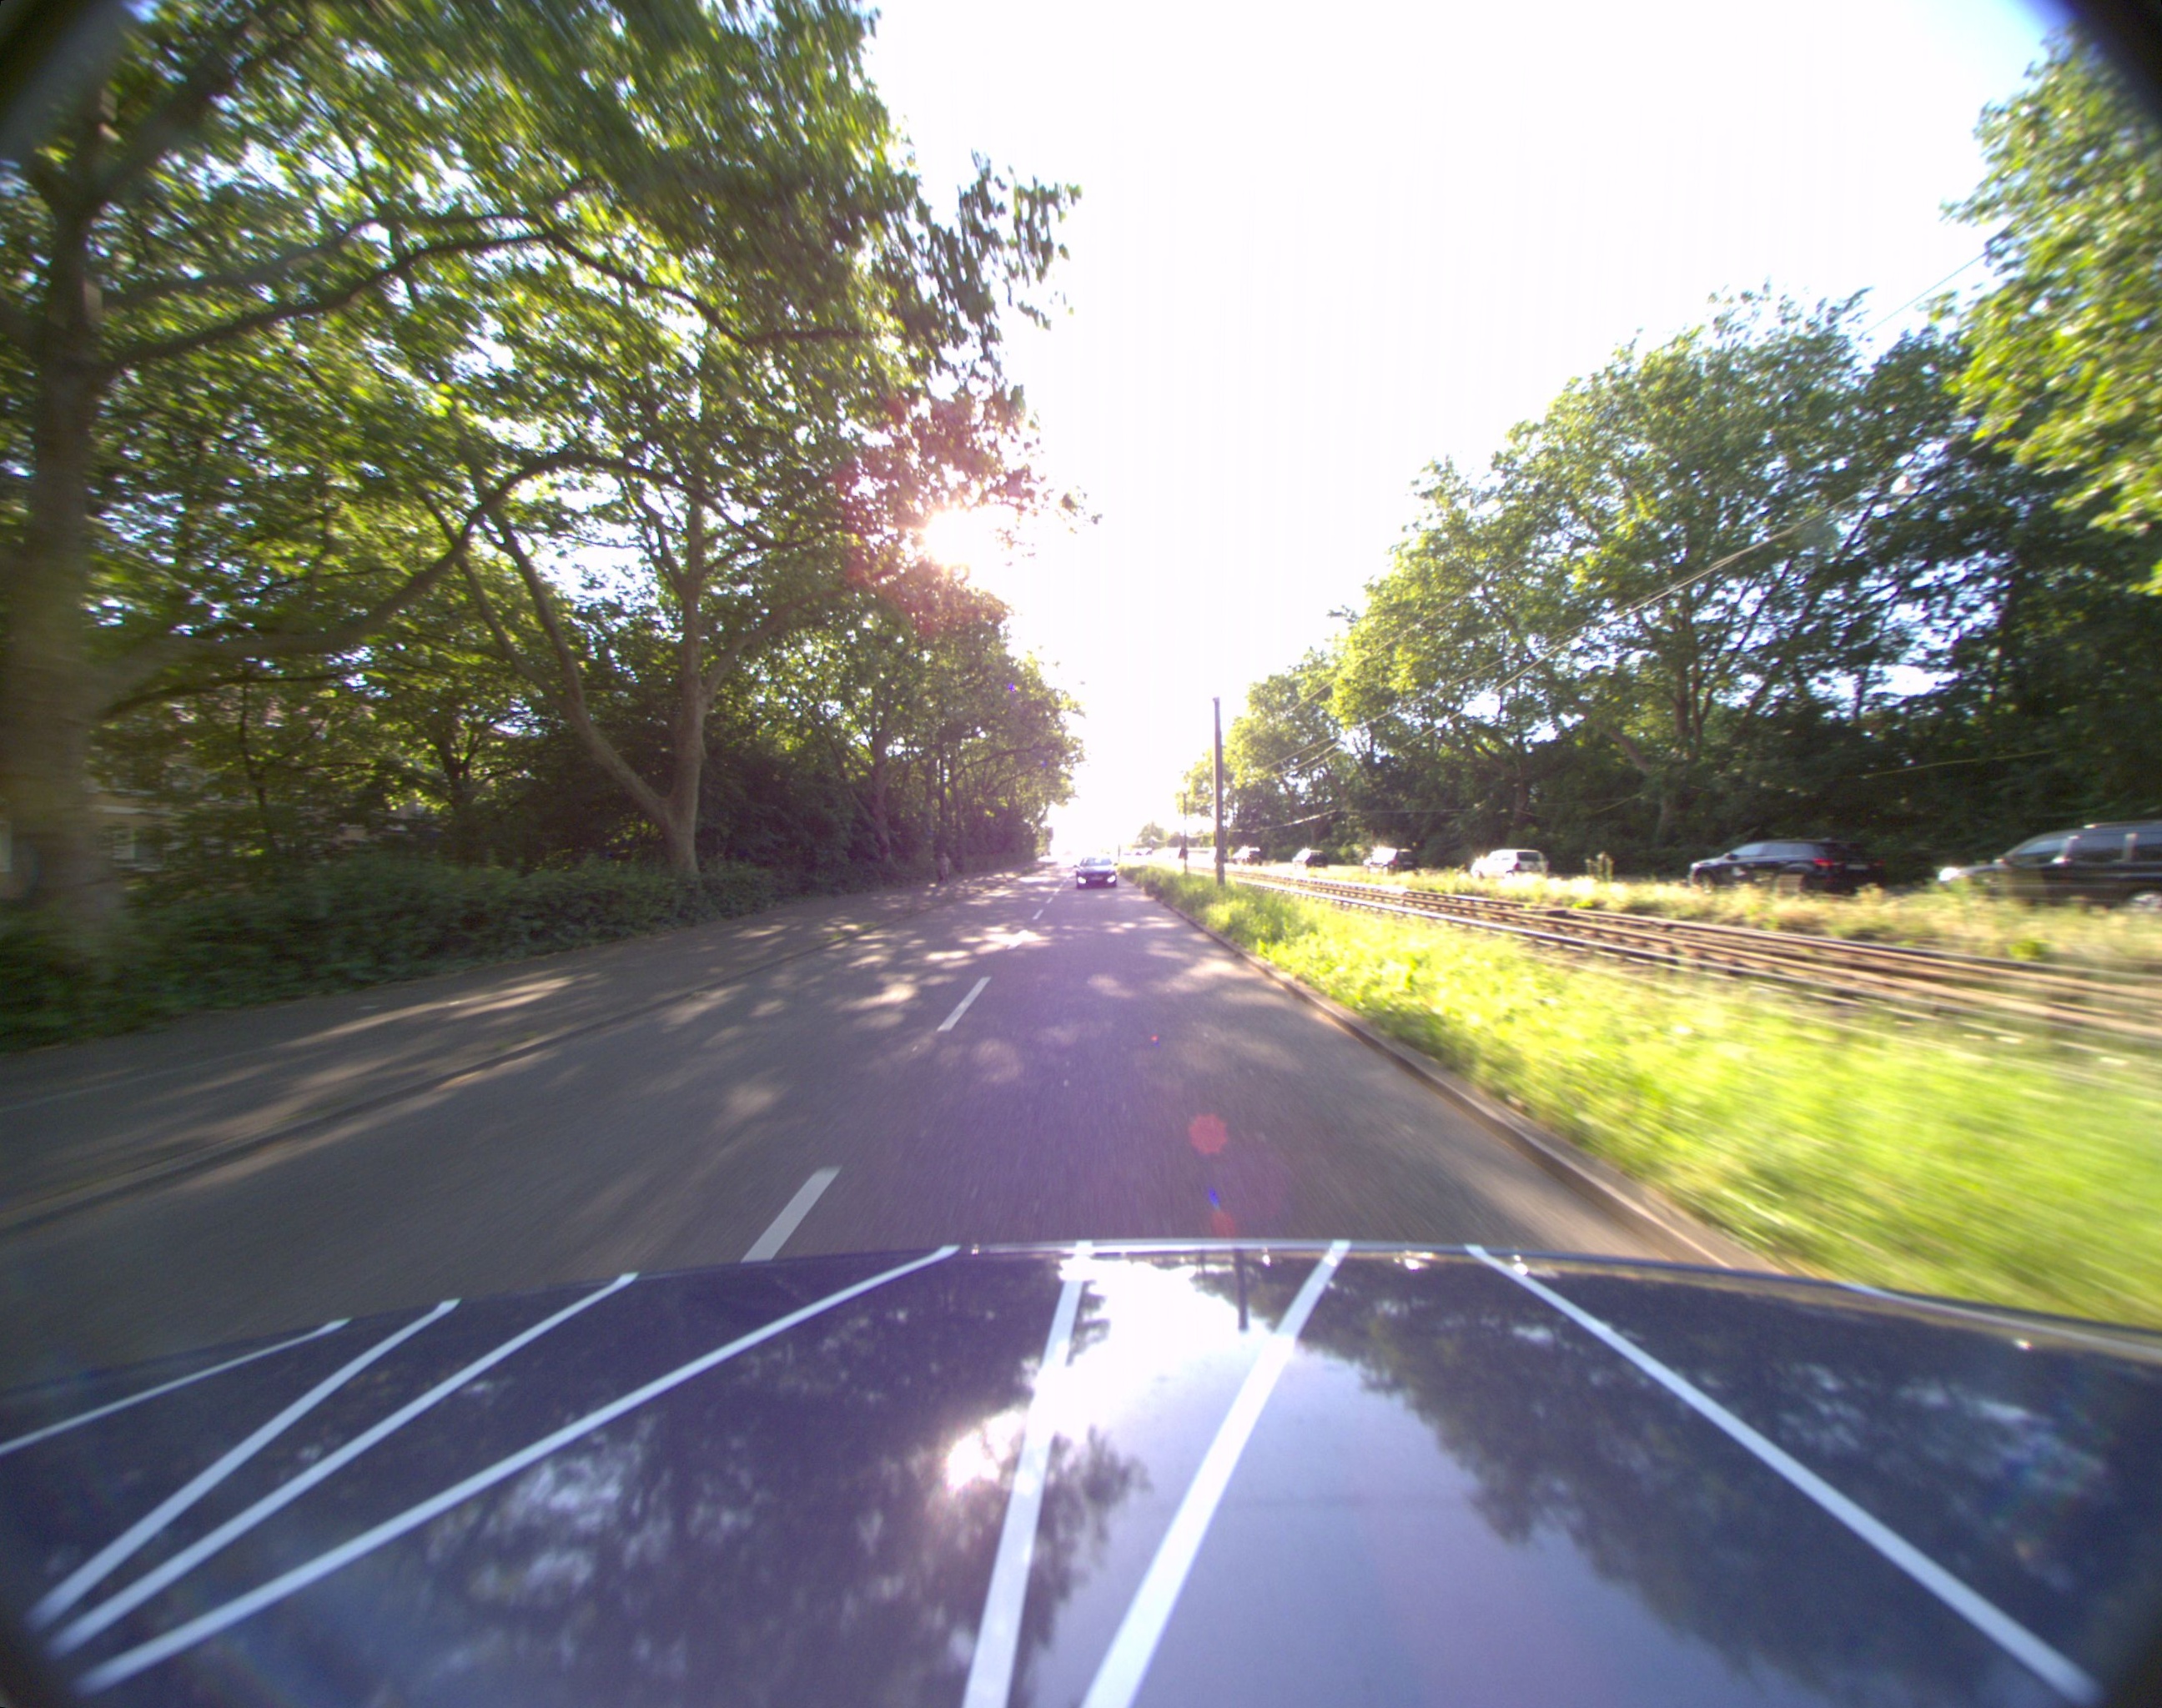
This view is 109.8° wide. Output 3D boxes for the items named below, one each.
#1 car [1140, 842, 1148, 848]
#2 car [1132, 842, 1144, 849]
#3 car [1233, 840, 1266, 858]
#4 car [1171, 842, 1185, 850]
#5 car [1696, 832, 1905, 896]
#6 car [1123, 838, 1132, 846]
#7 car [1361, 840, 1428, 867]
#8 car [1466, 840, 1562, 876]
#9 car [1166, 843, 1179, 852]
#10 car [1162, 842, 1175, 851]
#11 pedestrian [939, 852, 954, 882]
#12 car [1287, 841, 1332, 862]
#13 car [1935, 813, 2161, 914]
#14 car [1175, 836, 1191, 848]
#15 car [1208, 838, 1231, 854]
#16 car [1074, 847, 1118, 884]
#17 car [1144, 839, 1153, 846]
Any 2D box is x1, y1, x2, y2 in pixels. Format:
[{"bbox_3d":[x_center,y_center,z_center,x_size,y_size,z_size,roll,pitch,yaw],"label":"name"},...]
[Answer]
[{"bbox_3d":[15.235,-2.164,183.604,1.658,1.491,3.924,0,1,0],"label":"car"},{"bbox_3d":[12.127,-1.815,161.258,1.925,1.407,4.748,0,1,-2],"label":"car"},{"bbox_3d":[16.650,-0.492,75.387,1.832,1.709,4.391,-1,1,-7],"label":"car"},{"bbox_3d":[15.958,-1.331,125.046,1.659,1.434,3.783,0,1,-3],"label":"car"},{"bbox_3d":[18.859,0.206,20.188,1.744,1.546,3.880,0,1,-3],"label":"car"},{"bbox_3d":[11.831,-3.017,192.209,1.832,1.841,5.034,0,1,-1],"label":"car"},{"bbox_3d":[17.717,-0.073,43.133,1.832,1.428,4.322,0,1,-3],"label":"car"},{"bbox_3d":[18.353,0.121,32.399,1.744,1.428,3.850,0,1,-3],"label":"car"},{"bbox_3d":[15.735,-1.165,130.536,1.658,1.434,3.784,0,1,-2],"label":"car"},{"bbox_3d":[15.695,-1.309,135.934,1.659,1.491,3.923,0,1,-3],"label":"car"},{"bbox_3d":[-7.565,0.718,42.844,0.649,1.626,0.927,0,1,1],"label":"pedestrian"},{"bbox_3d":[16.991,-0.195,56.709,1.832,1.497,4.392,0,1,-3],"label":"car"},{"bbox_3d":[19.188,0.136,14.313,1.744,1.718,3.880,0,1,-3],"label":"car"},{"bbox_3d":[16.020,-1.874,119.501,1.735,1.730,3.898,0,1,-3],"label":"car"},{"bbox_3d":[16.609,-0.967,91.341,1.832,1.830,4.392,0,1,-3],"label":"car"},{"bbox_3d":[0.634,0.483,34.628,1.799,1.501,3.999,-3,0,-1],"label":"car"},{"bbox_3d":[15.329,-2.615,172.208,1.658,1.491,3.924,0,1,-1],"label":"car"}]
